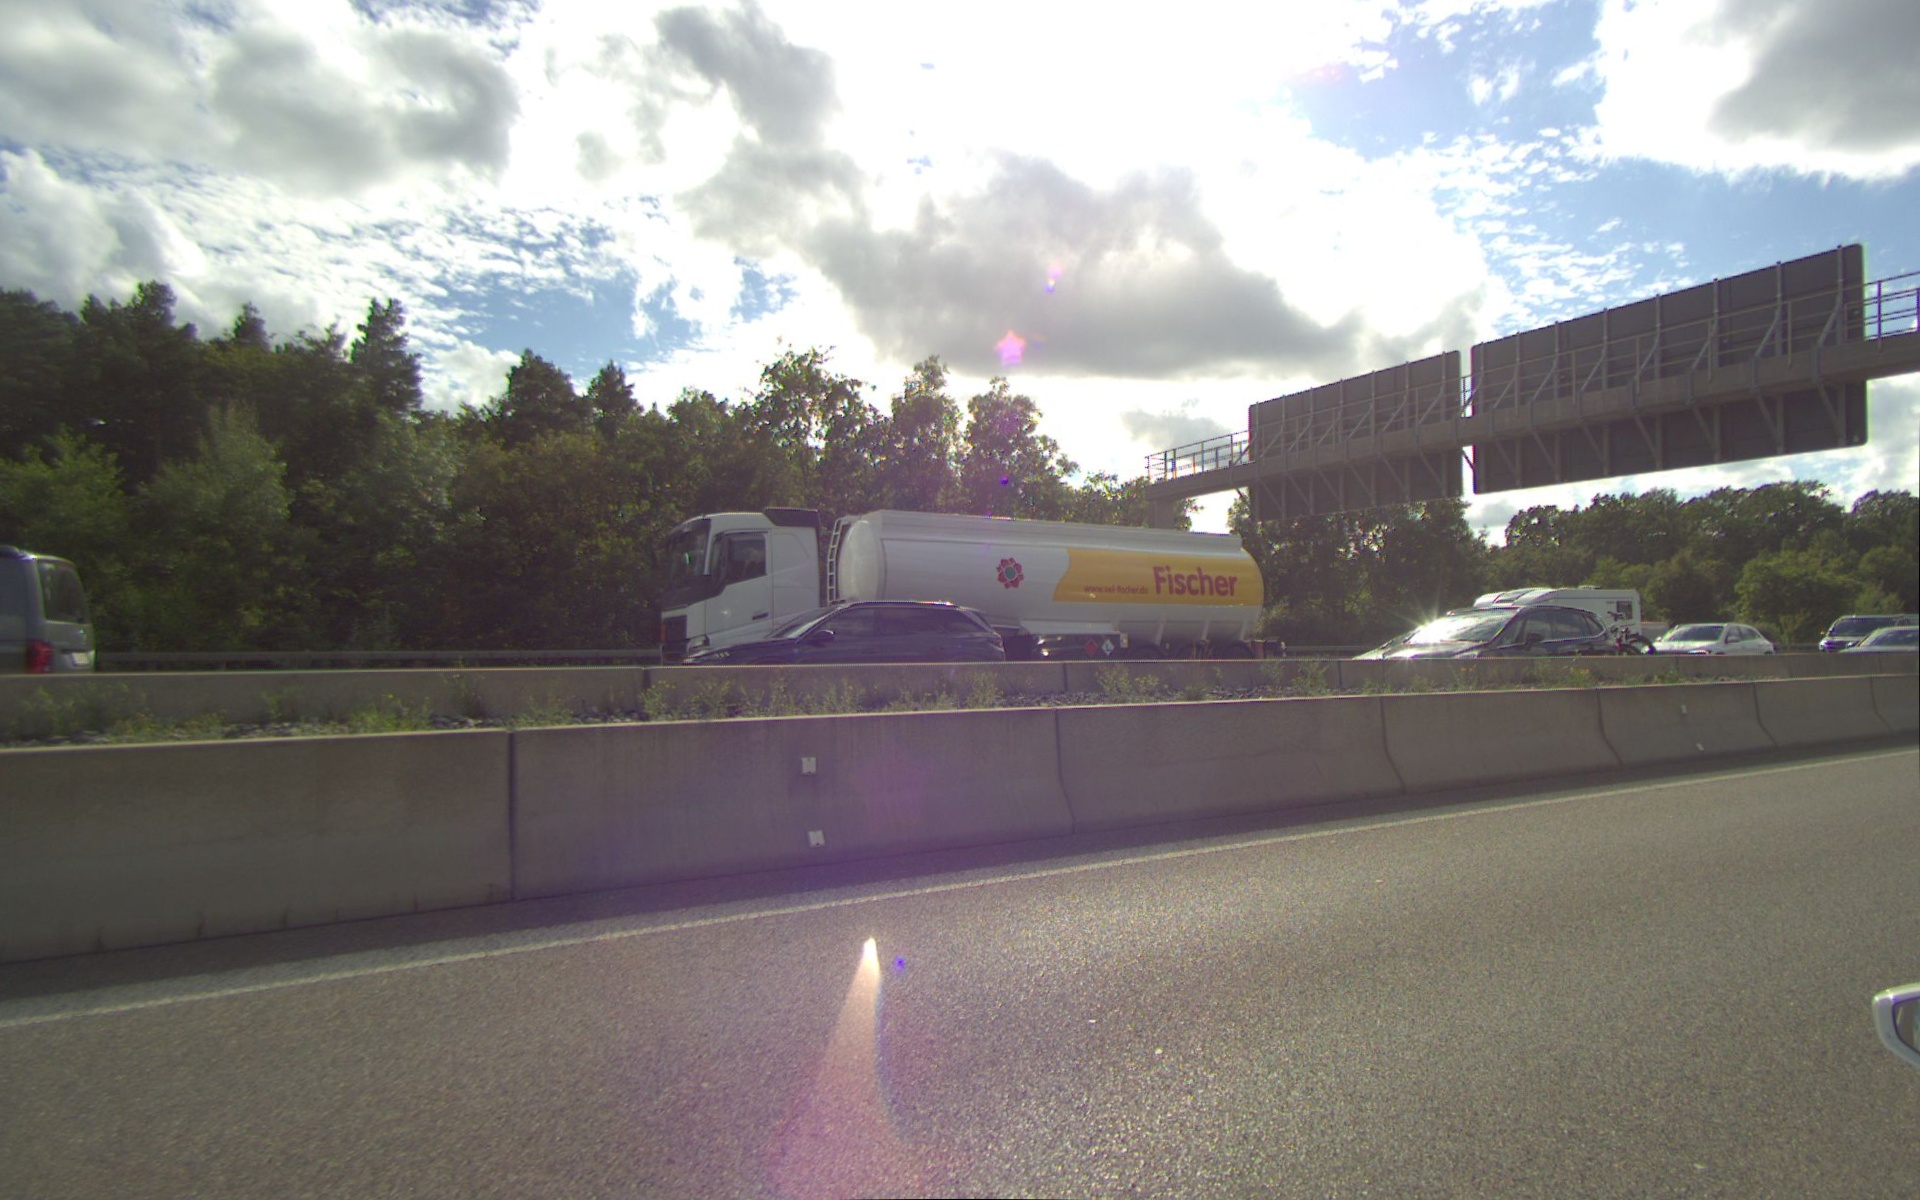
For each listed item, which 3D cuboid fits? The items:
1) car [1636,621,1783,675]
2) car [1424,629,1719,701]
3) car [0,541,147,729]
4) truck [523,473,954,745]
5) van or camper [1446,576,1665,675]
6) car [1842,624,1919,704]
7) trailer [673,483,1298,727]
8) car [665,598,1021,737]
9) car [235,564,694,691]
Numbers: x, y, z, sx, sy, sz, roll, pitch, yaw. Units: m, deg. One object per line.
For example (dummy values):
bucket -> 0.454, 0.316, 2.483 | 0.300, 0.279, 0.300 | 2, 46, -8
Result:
car -> 20.317, 1.273, 27.183 | 4.483, 1.341, 1.555 | 1, 0, -30
car -> 9.810, 0.976, 15.954 | 5.399, 0.940, 1.659 | 1, 0, -30
car -> -10.493, 0.264, 8.969 | 4.728, 1.677, 1.997 | 1, 0, -31
truck -> -3.874, 0.194, 17.804 | 6.722, 3.952, 3.400 | 1, 0, -30
van or camper -> 17.899, 0.822, 30.041 | 7.310, 2.678, 2.314 | 2, -1, -30
car -> 24.027, 1.542, 24.924 | 4.880, 1.822, 1.758 | 1, 0, -30
trailer -> 1.106, 0.200, 20.751 | 13.106, 3.879, 3.395 | 1, 0, -31
car -> -1.570, 0.865, 14.065 | 4.608, 1.653, 1.791 | 1, 0, -30
car -> -5.629, 0.319, 11.827 | 4.514, 1.247, 1.823 | 2, -1, -31
